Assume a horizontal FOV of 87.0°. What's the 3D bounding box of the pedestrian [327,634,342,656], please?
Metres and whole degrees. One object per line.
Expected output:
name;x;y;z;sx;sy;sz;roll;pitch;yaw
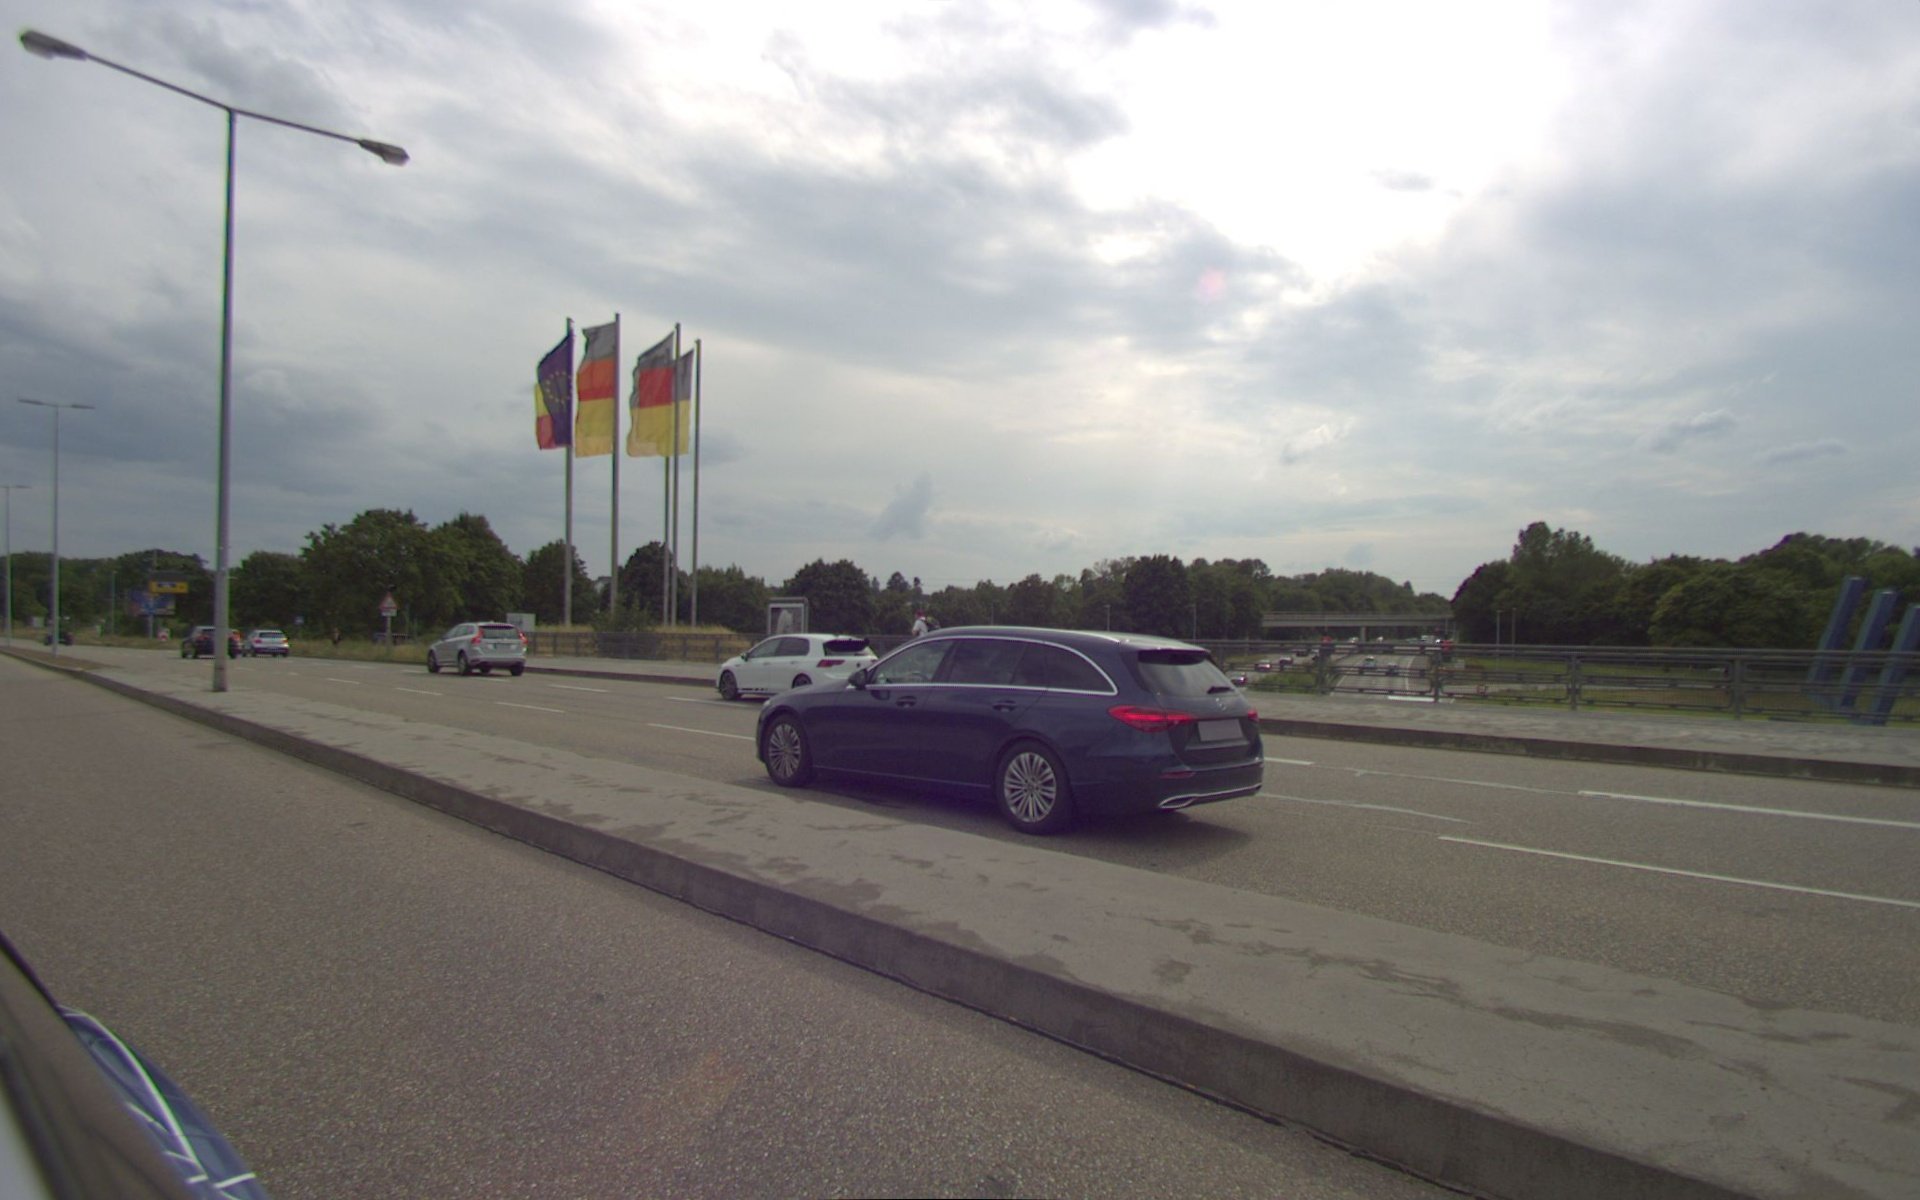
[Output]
pedestrian;-47.391;3.417;76.713;0.853;1.706;0.681;1;-3;-24

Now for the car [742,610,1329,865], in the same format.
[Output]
car;0.314;0.920;8.236;4.777;1.492;1.719;-3;-4;44

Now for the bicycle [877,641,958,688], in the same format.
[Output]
bicycle;-1.057;1.554;24.652;2.059;1.057;0.699;-1;-1;42

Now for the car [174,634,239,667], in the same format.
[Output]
car;-37.070;2.445;49.764;4.315;1.527;1.721;-1;-3;42

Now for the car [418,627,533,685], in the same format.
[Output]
car;-15.661;1.746;32.581;1.841;1.738;4.773;4;-4;-45

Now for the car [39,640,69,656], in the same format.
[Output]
car;-85.840;4.535;95.877;4.178;1.452;1.743;-3;-4;44

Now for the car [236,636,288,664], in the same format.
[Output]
car;-38.342;2.746;55.587;1.630;1.527;4.018;3;-4;-45

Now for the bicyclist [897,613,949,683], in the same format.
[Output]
bicyclist;-0.905;1.147;24.520;0.976;1.639;0.786;-1;-1;41

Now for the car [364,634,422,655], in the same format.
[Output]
car;-57.419;4.514;102.564;1.835;1.908;5.480;0;-4;13

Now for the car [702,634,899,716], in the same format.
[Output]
car;-3.415;1.491;21.119;4.472;1.492;1.719;-1;-4;44
